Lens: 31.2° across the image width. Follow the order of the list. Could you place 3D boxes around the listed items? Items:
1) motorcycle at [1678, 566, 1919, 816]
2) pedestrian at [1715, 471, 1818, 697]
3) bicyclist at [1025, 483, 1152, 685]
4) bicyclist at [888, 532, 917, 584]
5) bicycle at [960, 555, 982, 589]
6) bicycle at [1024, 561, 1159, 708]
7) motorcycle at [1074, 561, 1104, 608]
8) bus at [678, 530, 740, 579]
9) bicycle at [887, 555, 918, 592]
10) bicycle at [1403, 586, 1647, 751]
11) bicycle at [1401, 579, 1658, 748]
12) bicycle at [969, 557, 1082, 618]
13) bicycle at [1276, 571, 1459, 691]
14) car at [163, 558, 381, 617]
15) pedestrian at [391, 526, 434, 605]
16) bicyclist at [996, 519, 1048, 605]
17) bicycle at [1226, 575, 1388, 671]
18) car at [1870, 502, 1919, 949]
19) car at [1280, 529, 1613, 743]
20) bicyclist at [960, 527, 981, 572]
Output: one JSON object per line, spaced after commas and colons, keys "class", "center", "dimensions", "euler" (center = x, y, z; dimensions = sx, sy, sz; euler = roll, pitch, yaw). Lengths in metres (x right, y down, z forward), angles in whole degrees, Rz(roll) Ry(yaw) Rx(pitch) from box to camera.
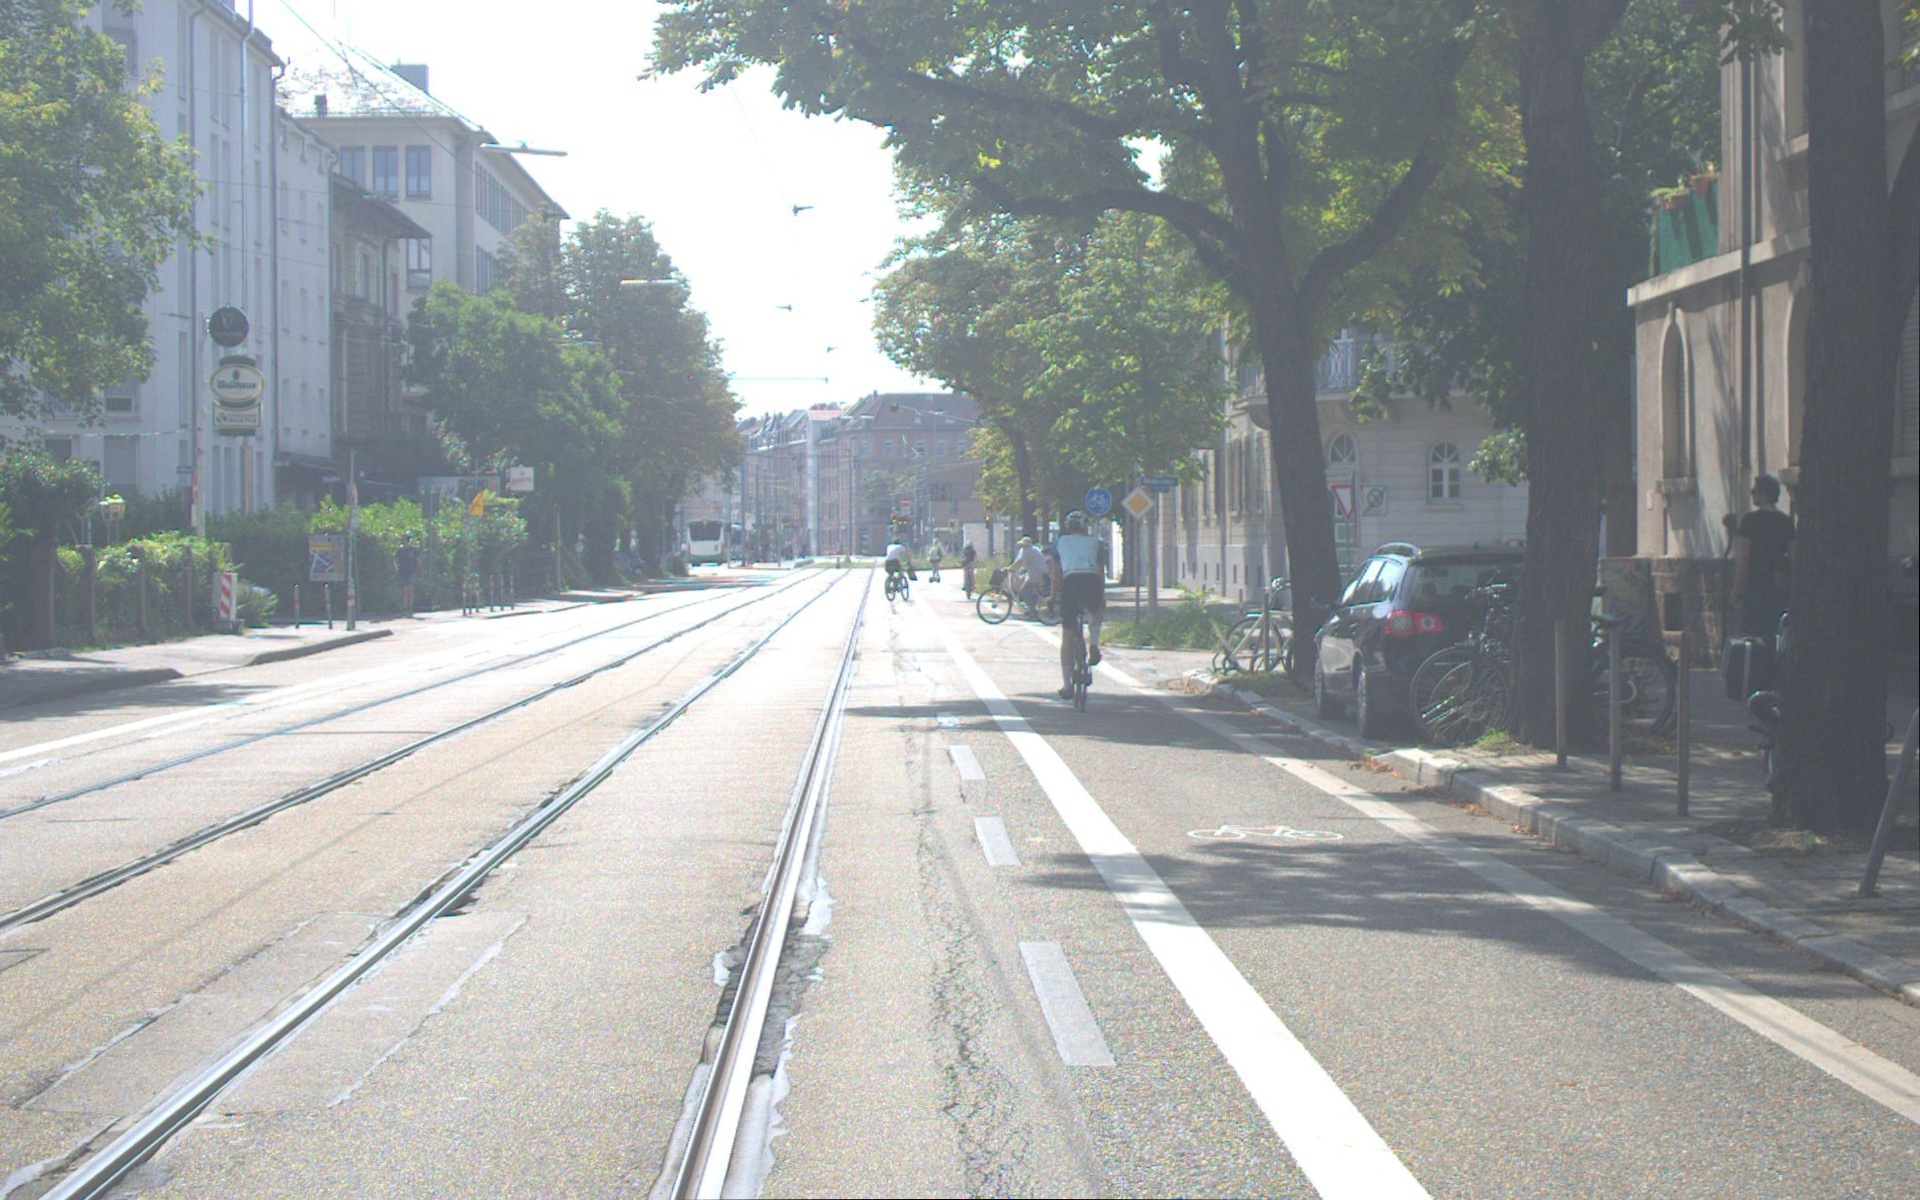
{"class": "motorcycle", "center": [4.525, 0.455, 18.620], "dimensions": [0.710, 1.251, 2.177], "euler": [0, 1, -3]}
{"class": "pedestrian", "center": [6.824, -0.136, 29.113], "dimensions": [0.706, 1.885, 0.714], "euler": [0, 1, 0]}
{"class": "bicyclist", "center": [1.176, -0.153, 31.763], "dimensions": [1.125, 1.830, 0.956], "euler": [0, 1, 0]}
{"class": "bicyclist", "center": [-1.566, -1.143, 93.429], "dimensions": [0.758, 1.387, 0.779], "euler": [0, 1, 1]}
{"class": "bicycle", "center": [0.312, -0.802, 96.736], "dimensions": [0.588, 0.936, 2.172], "euler": [0, 1, 1]}
{"class": "bicycle", "center": [1.190, 0.291, 31.742], "dimensions": [1.148, 1.265, 2.712], "euler": [0, 1, 0]}
{"class": "motorcycle", "center": [2.996, -0.364, 79.855], "dimensions": [0.549, 1.064, 2.330], "euler": [0, 1, -1]}
{"class": "bus", "center": [-17.835, -3.219, 245.218], "dimensions": [3.735, 3.352, 15.121], "euler": [0, 1, -2]}
{"class": "bicycle", "center": [-1.562, -0.730, 93.403], "dimensions": [0.758, 0.987, 2.298], "euler": [0, 1, 1]}
{"class": "bicycle", "center": [3.833, 0.458, 23.369], "dimensions": [1.606, 1.100, 0.398], "euler": [0, 1, 5]}
{"class": "bicycle", "center": [3.924, 0.434, 23.757], "dimensions": [1.723, 1.145, 0.377], "euler": [0, 1, 5]}
{"class": "bicycle", "center": [1.267, -0.246, 66.242], "dimensions": [2.036, 1.147, 0.785], "euler": [0, 1, 17]}
{"class": "bicycle", "center": [3.893, 0.295, 32.872], "dimensions": [1.723, 1.133, 0.377], "euler": [0, 1, 5]}
{"class": "car", "center": [-15.078, -0.274, 75.404], "dimensions": [4.234, 1.180, 1.998], "euler": [-1, 0, 19]}
{"class": "pedestrian", "center": [-12.379, -0.783, 77.725], "dimensions": [0.779, 1.750, 1.040], "euler": [-1, 1, -1]}
{"class": "bicyclist", "center": [1.197, -0.737, 66.248], "dimensions": [0.824, 1.637, 0.785], "euler": [0, 1, 17]}
{"class": "bicycle", "center": [3.803, 0.248, 37.771], "dimensions": [1.713, 1.028, 0.566], "euler": [0, 1, 0]}
{"class": "car", "center": [4.258, 0.497, 10.354], "dimensions": [1.840, 1.527, 4.116], "euler": [-1, 3, -2]}
{"class": "car", "center": [3.812, 0.217, 27.756], "dimensions": [1.840, 1.527, 4.780], "euler": [-2, 1, -2]}
{"class": "bicyclist", "center": [0.309, -1.423, 96.710], "dimensions": [0.579, 1.274, 0.471], "euler": [0, 1, 1]}
